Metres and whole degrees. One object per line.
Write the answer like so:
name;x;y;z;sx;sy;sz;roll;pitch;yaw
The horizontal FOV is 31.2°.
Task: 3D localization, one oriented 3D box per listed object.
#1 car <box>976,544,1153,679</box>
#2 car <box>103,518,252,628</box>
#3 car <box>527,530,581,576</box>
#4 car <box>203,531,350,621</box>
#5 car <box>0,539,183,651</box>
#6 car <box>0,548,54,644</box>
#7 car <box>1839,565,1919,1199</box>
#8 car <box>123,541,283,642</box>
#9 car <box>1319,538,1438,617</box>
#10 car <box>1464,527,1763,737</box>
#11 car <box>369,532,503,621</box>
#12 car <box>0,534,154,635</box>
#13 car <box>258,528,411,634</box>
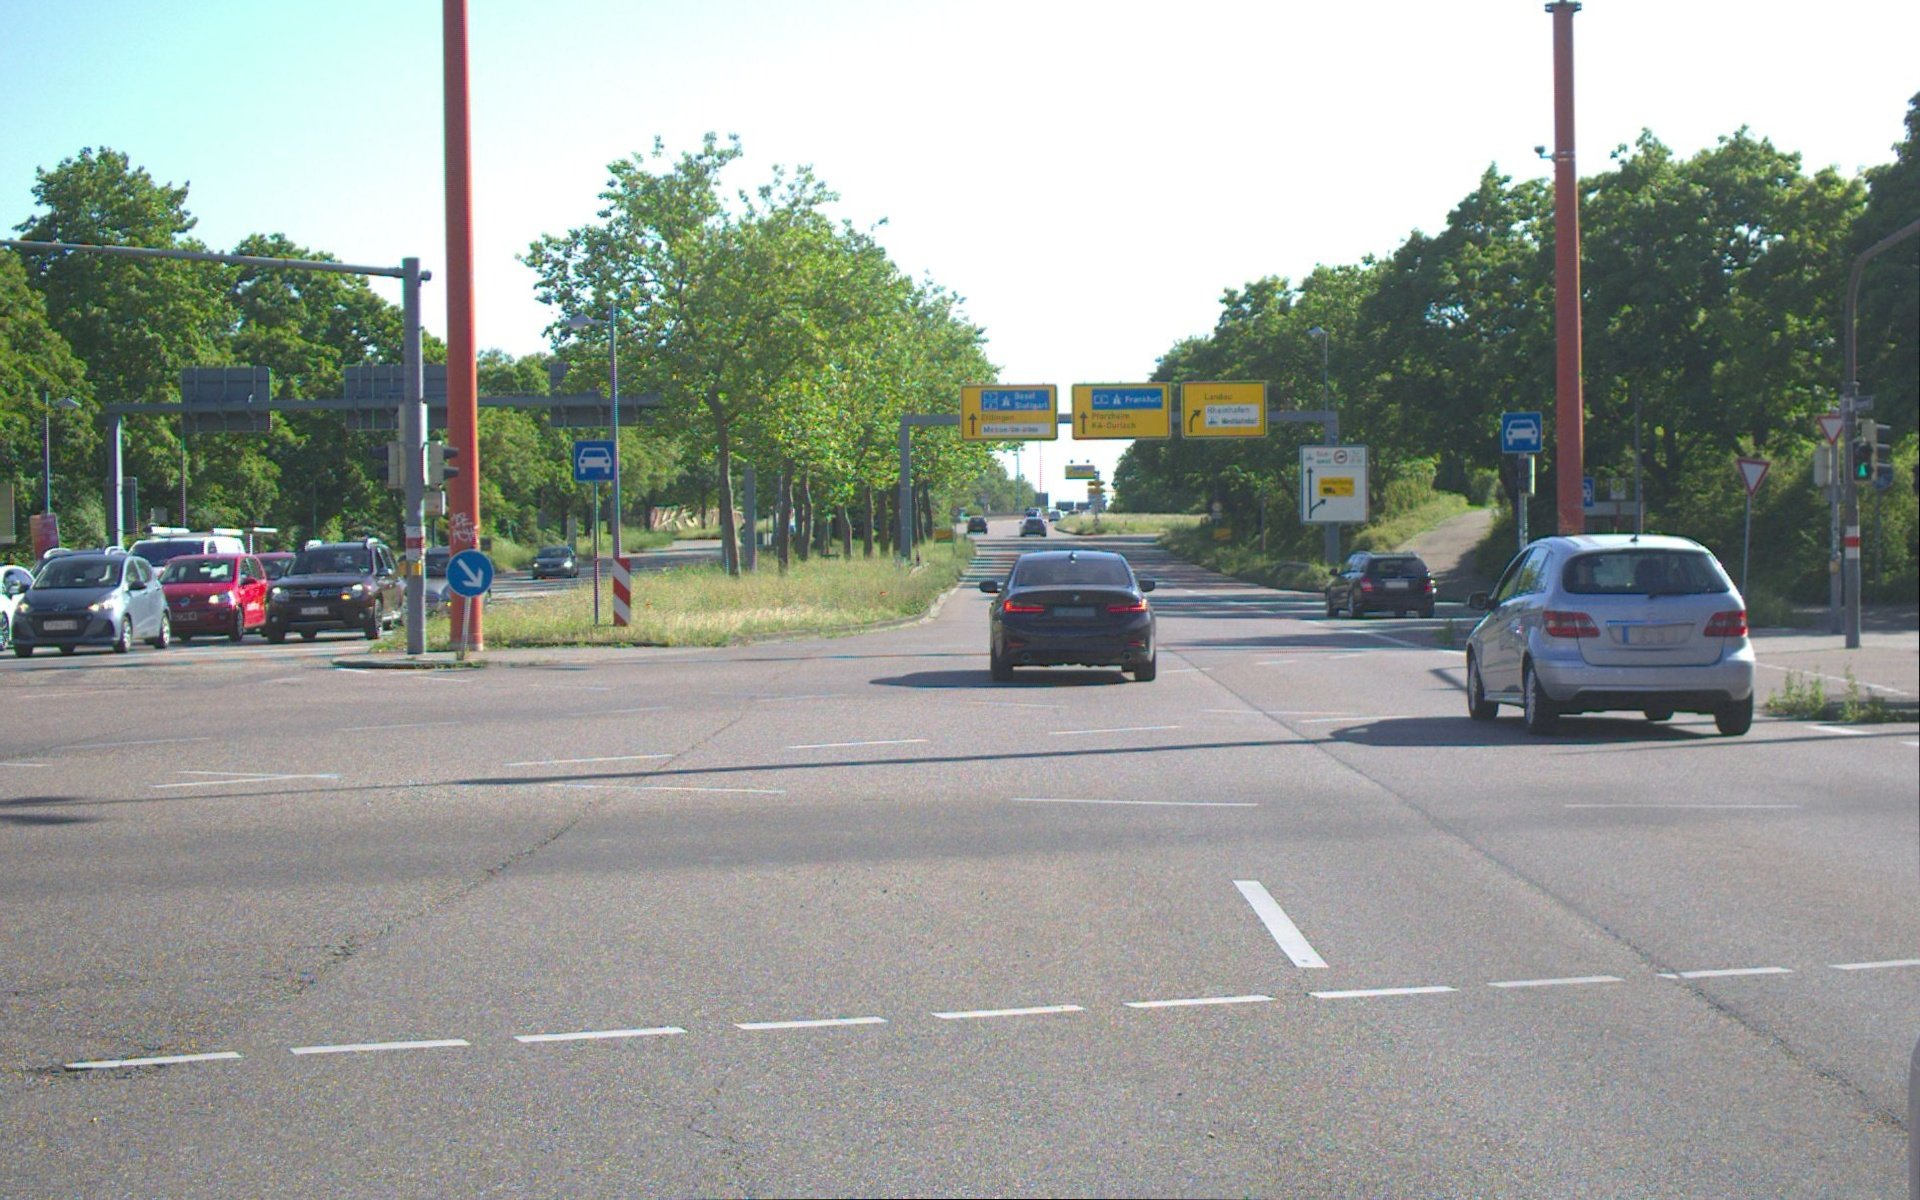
car;1.137;0.099;39.262;1.764;1.436;4.295;1;1;-2
car;-16.070;-0.579;70.827;1.961;2.147;5.082;-1;1;-1
car;-18.251;-2.119;154.697;1.920;1.992;4.604;0;1;-1
car;-12.808;-0.464;64.623;1.901;1.624;4.000;0;1;1
car;-13.220;-0.108;52.288;1.874;1.545;4.028;-2;1;-1
car;-16.534;-0.060;57.279;1.901;1.549;4.000;-1;1;-2
car;2.531;0.740;3.899;1.804;1.488;4.683;1;1;-1
car;-12.869;-0.168;58.626;1.875;1.547;4.000;-3;1;-2
car;9.033;-0.501;74.521;1.763;1.630;4.299;1;1;-4
car;5.352;0.230;28.598;1.716;1.602;3.847;1;1;0
car;-9.691;-0.454;63.843;1.885;1.538;4.000;-2;1;-1
car;-16.401;-0.317;63.769;1.874;1.778;4.000;-1;1;1
car;-10.215;-0.337;56.364;1.793;1.620;4.144;-2;1;-1
